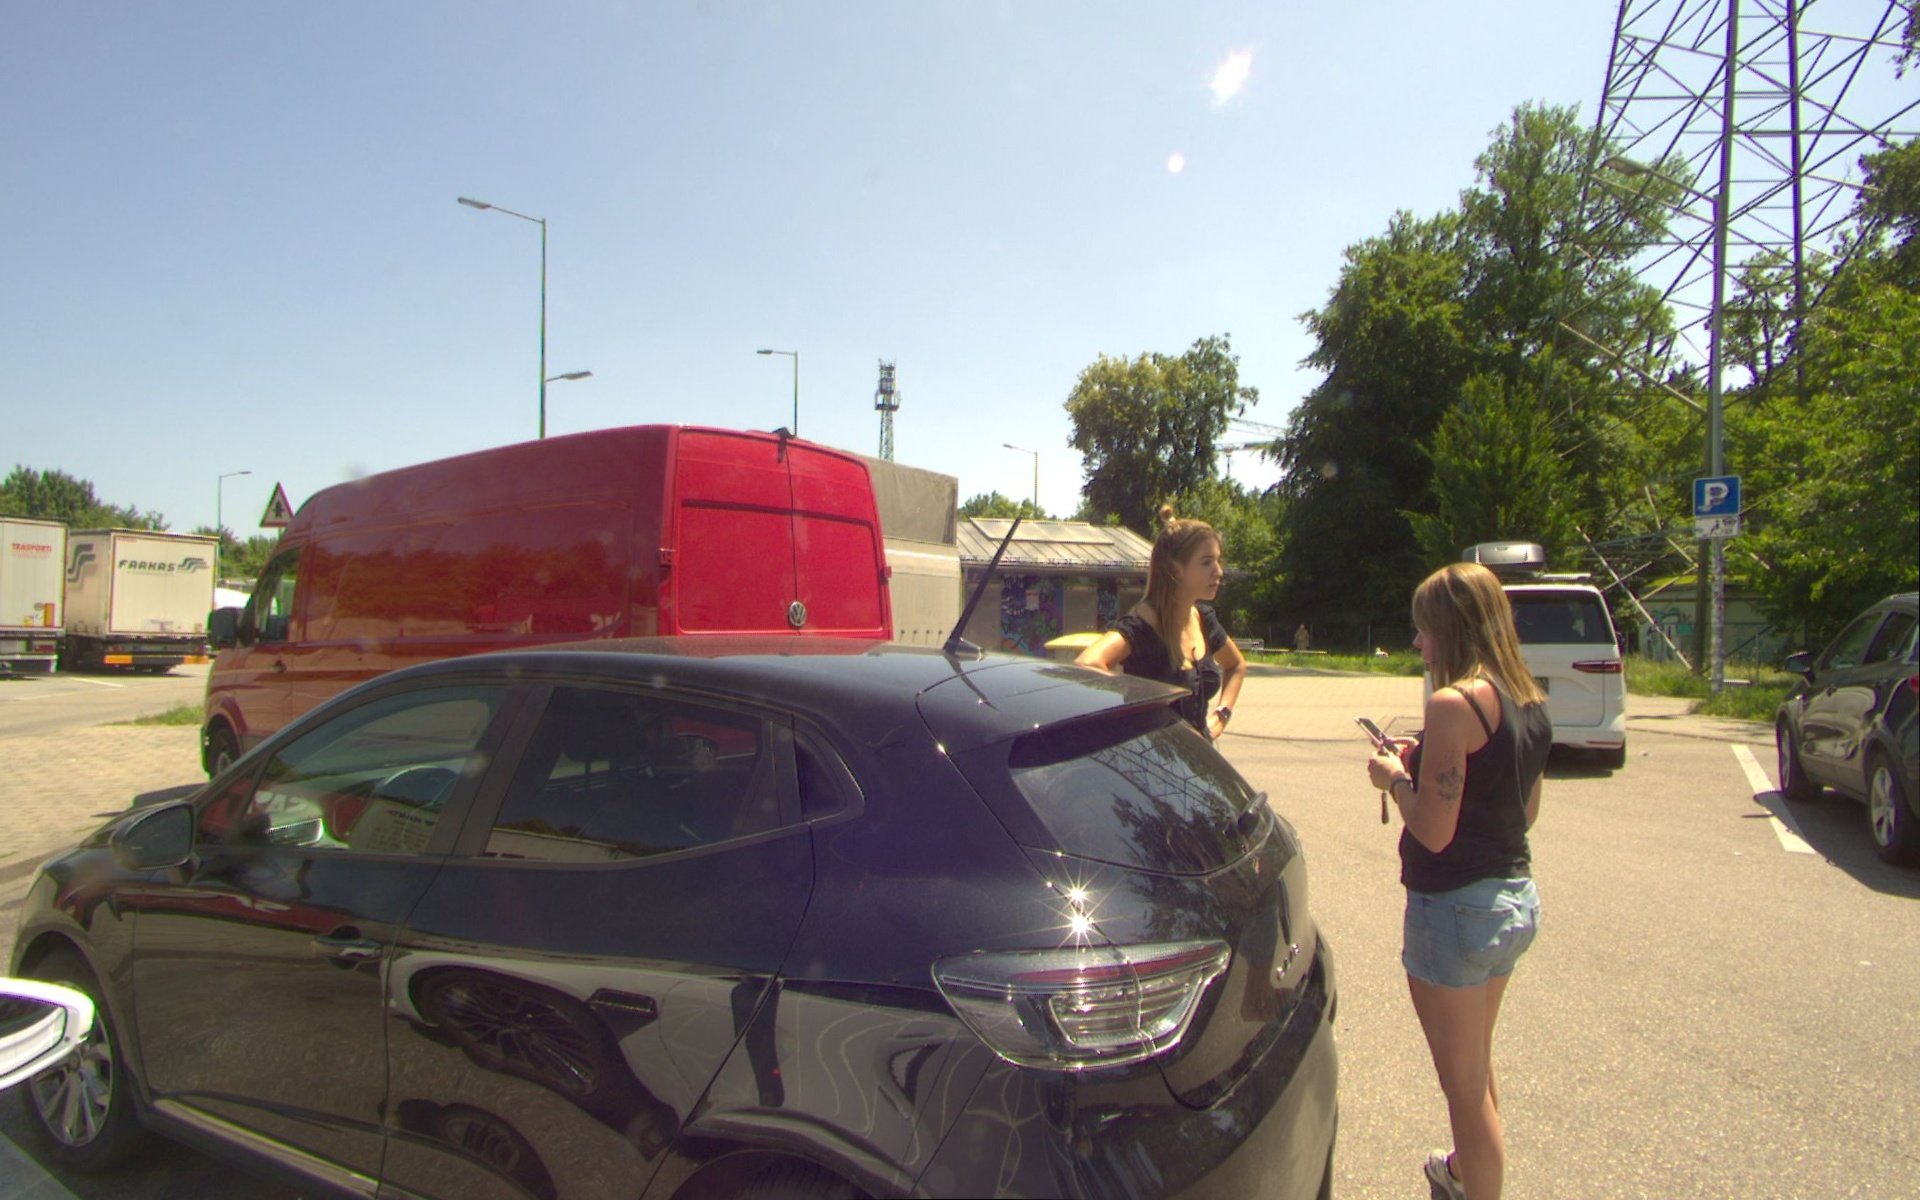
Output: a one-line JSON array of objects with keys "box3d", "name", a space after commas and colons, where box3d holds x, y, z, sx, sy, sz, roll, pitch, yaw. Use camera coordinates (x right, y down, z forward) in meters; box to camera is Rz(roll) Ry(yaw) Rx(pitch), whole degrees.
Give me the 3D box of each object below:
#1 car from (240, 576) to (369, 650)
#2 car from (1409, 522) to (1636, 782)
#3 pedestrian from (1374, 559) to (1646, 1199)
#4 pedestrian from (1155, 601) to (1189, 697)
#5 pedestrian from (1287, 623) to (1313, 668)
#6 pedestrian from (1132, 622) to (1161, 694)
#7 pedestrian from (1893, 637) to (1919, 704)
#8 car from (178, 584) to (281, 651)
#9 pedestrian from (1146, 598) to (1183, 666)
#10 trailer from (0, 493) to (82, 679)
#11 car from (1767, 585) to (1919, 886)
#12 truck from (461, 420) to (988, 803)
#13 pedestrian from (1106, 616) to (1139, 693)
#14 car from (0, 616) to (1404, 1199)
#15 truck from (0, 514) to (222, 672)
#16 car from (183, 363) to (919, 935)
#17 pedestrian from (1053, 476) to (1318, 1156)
[{"box3d": [-29.473, 0.594, 44.951, 6.259, 3.115, 2.495, 0, -1, 32], "name": "car"}, {"box3d": [6.630, 0.544, 11.909, 1.901, 2.401, 4.954, 1, -1, 29], "name": "car"}, {"box3d": [1.229, 0.734, 2.270, 0.478, 1.615, 0.501, 0, 0, 29], "name": "pedestrian"}, {"box3d": [4.023, 0.918, 18.983, 0.520, 1.783, 0.651, 0, 0, 23], "name": "pedestrian"}, {"box3d": [15.468, 2.075, 45.555, 0.955, 2.039, 0.829, 0, -1, 10], "name": "pedestrian"}, {"box3d": [3.603, 1.117, 19.342, 0.439, 1.362, 0.477, 0, 0, 23], "name": "pedestrian"}, {"box3d": [17.230, 1.240, 17.799, 0.694, 1.178, 0.787, -1, -1, 22], "name": "pedestrian"}, {"box3d": [-29.943, 0.749, 41.034, 3.943, 2.632, 2.111, -1, -2, 32], "name": "car"}, {"box3d": [5.825, 0.923, 28.548, 0.762, 1.903, 0.840, 0, -1, -11], "name": "pedestrian"}, {"box3d": [-28.582, -0.342, 27.860, 12.642, 4.511, 2.677, 0, -1, 32], "name": "trailer"}, {"box3d": [6.999, 0.787, 6.725, 1.811, 1.638, 4.149, 0, -1, 30], "name": "car"}, {"box3d": [-2.393, 0.171, 9.857, 4.751, 2.863, 2.514, -1, -2, 34], "name": "truck"}, {"box3d": [3.193, 1.064, 19.668, 0.521, 1.478, 0.576, 0, 0, 23], "name": "pedestrian"}, {"box3d": [-0.783, 0.818, 2.790, 3.627, 1.476, 1.776, -1, -2, 26], "name": "car"}, {"box3d": [-27.153, -0.026, 31.238, 11.800, 4.279, 2.582, -1, -2, 32], "name": "truck"}, {"box3d": [-3.389, 0.253, 7.349, 6.298, 2.668, 1.988, 0, -1, 36], "name": "car"}, {"box3d": [0.766, 0.610, 3.284, 0.481, 1.884, 0.906, 0, 0, 39], "name": "pedestrian"}]
